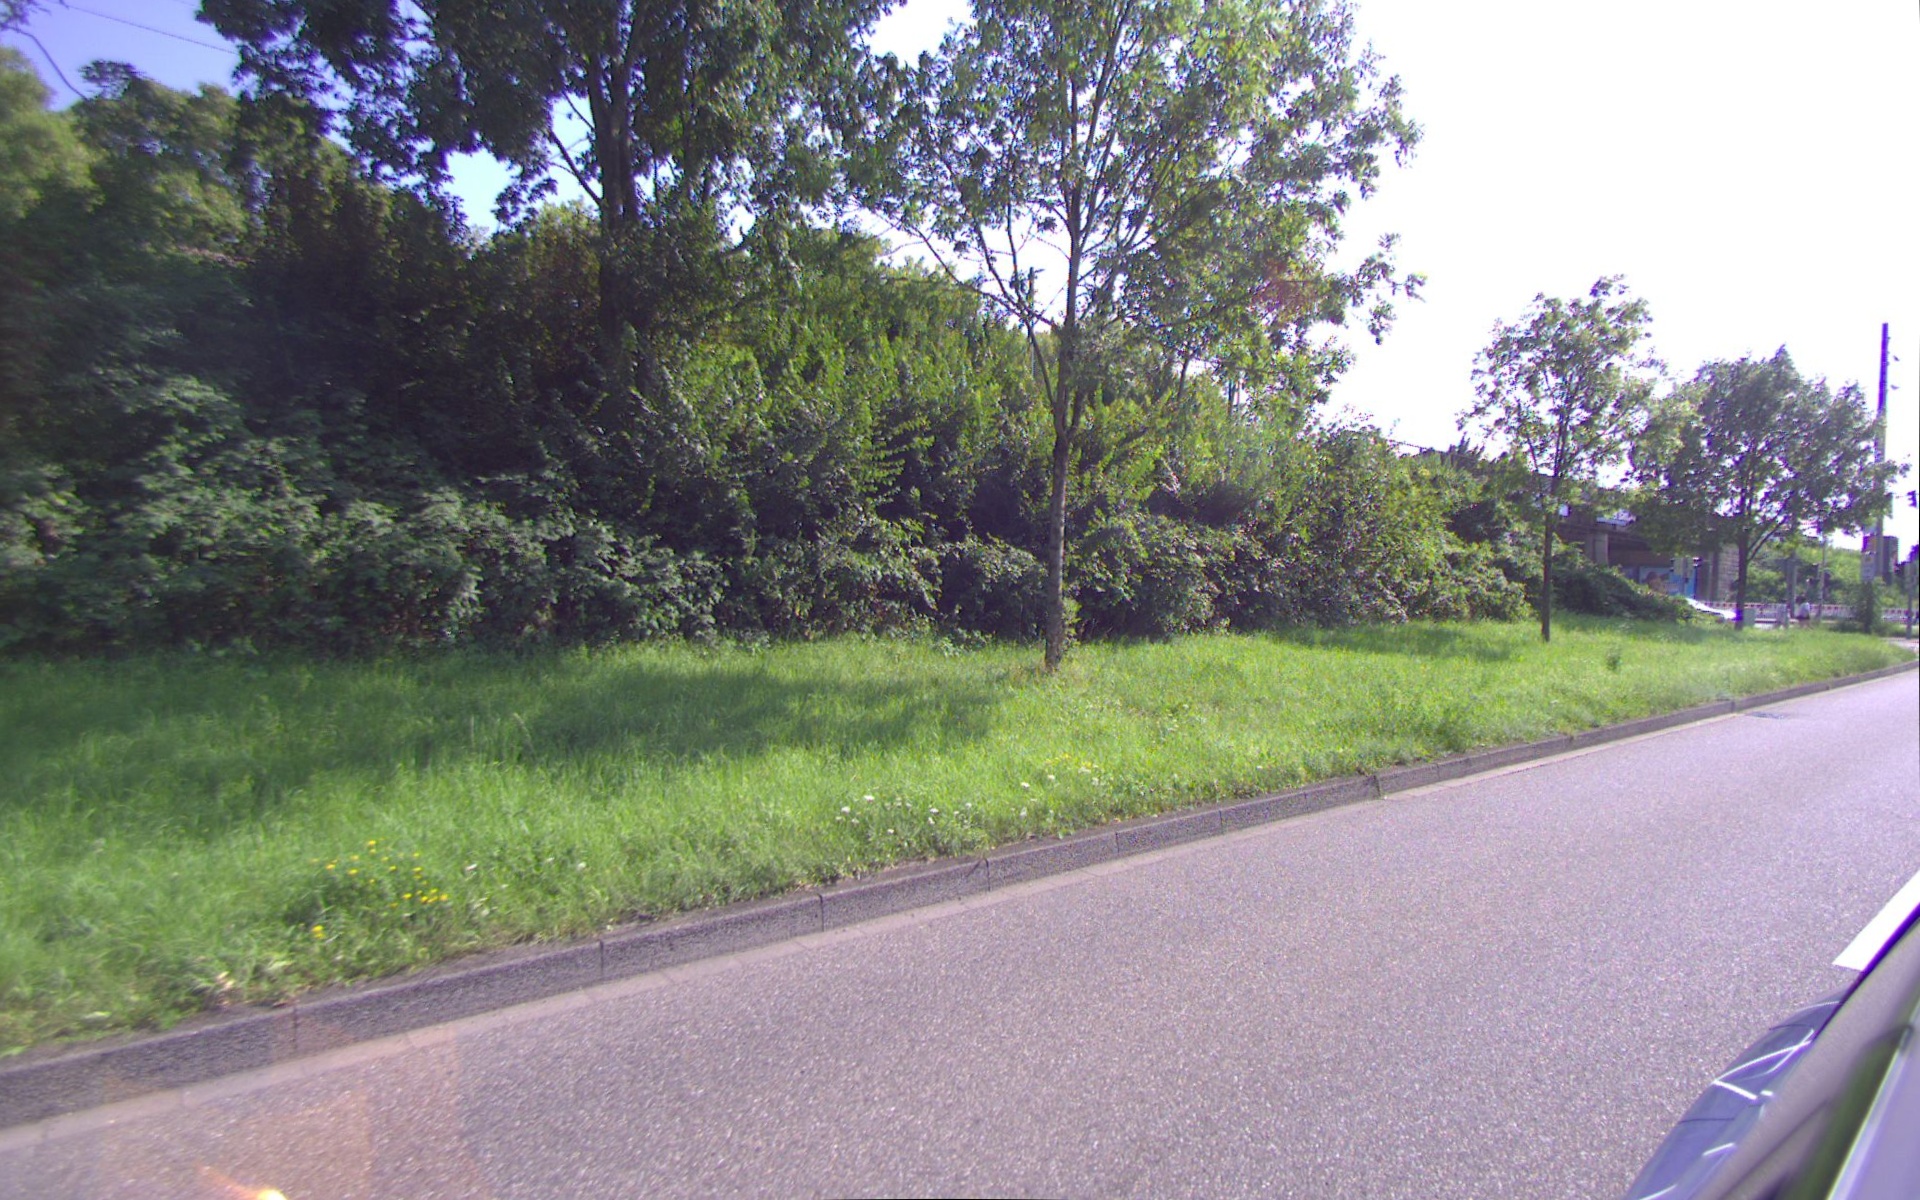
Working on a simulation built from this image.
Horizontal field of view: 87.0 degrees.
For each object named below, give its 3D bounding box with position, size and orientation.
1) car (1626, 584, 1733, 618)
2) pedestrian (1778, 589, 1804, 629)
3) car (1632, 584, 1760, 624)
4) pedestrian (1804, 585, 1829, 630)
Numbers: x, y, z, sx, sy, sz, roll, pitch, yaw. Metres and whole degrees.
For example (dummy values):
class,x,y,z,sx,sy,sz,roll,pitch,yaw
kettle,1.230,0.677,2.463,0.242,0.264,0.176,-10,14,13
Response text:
class,x,y,z,sx,sy,sz,roll,pitch,yaw
car,38.470,0.023,54.211,4.162,1.638,1.999,2,2,18
pedestrian,33.248,0.348,40.493,0.563,1.586,0.535,1,1,10
car,32.349,0.132,44.617,1.831,1.552,4.204,1,2,-20
pedestrian,33.370,0.279,39.431,0.484,1.703,0.570,1,1,10
